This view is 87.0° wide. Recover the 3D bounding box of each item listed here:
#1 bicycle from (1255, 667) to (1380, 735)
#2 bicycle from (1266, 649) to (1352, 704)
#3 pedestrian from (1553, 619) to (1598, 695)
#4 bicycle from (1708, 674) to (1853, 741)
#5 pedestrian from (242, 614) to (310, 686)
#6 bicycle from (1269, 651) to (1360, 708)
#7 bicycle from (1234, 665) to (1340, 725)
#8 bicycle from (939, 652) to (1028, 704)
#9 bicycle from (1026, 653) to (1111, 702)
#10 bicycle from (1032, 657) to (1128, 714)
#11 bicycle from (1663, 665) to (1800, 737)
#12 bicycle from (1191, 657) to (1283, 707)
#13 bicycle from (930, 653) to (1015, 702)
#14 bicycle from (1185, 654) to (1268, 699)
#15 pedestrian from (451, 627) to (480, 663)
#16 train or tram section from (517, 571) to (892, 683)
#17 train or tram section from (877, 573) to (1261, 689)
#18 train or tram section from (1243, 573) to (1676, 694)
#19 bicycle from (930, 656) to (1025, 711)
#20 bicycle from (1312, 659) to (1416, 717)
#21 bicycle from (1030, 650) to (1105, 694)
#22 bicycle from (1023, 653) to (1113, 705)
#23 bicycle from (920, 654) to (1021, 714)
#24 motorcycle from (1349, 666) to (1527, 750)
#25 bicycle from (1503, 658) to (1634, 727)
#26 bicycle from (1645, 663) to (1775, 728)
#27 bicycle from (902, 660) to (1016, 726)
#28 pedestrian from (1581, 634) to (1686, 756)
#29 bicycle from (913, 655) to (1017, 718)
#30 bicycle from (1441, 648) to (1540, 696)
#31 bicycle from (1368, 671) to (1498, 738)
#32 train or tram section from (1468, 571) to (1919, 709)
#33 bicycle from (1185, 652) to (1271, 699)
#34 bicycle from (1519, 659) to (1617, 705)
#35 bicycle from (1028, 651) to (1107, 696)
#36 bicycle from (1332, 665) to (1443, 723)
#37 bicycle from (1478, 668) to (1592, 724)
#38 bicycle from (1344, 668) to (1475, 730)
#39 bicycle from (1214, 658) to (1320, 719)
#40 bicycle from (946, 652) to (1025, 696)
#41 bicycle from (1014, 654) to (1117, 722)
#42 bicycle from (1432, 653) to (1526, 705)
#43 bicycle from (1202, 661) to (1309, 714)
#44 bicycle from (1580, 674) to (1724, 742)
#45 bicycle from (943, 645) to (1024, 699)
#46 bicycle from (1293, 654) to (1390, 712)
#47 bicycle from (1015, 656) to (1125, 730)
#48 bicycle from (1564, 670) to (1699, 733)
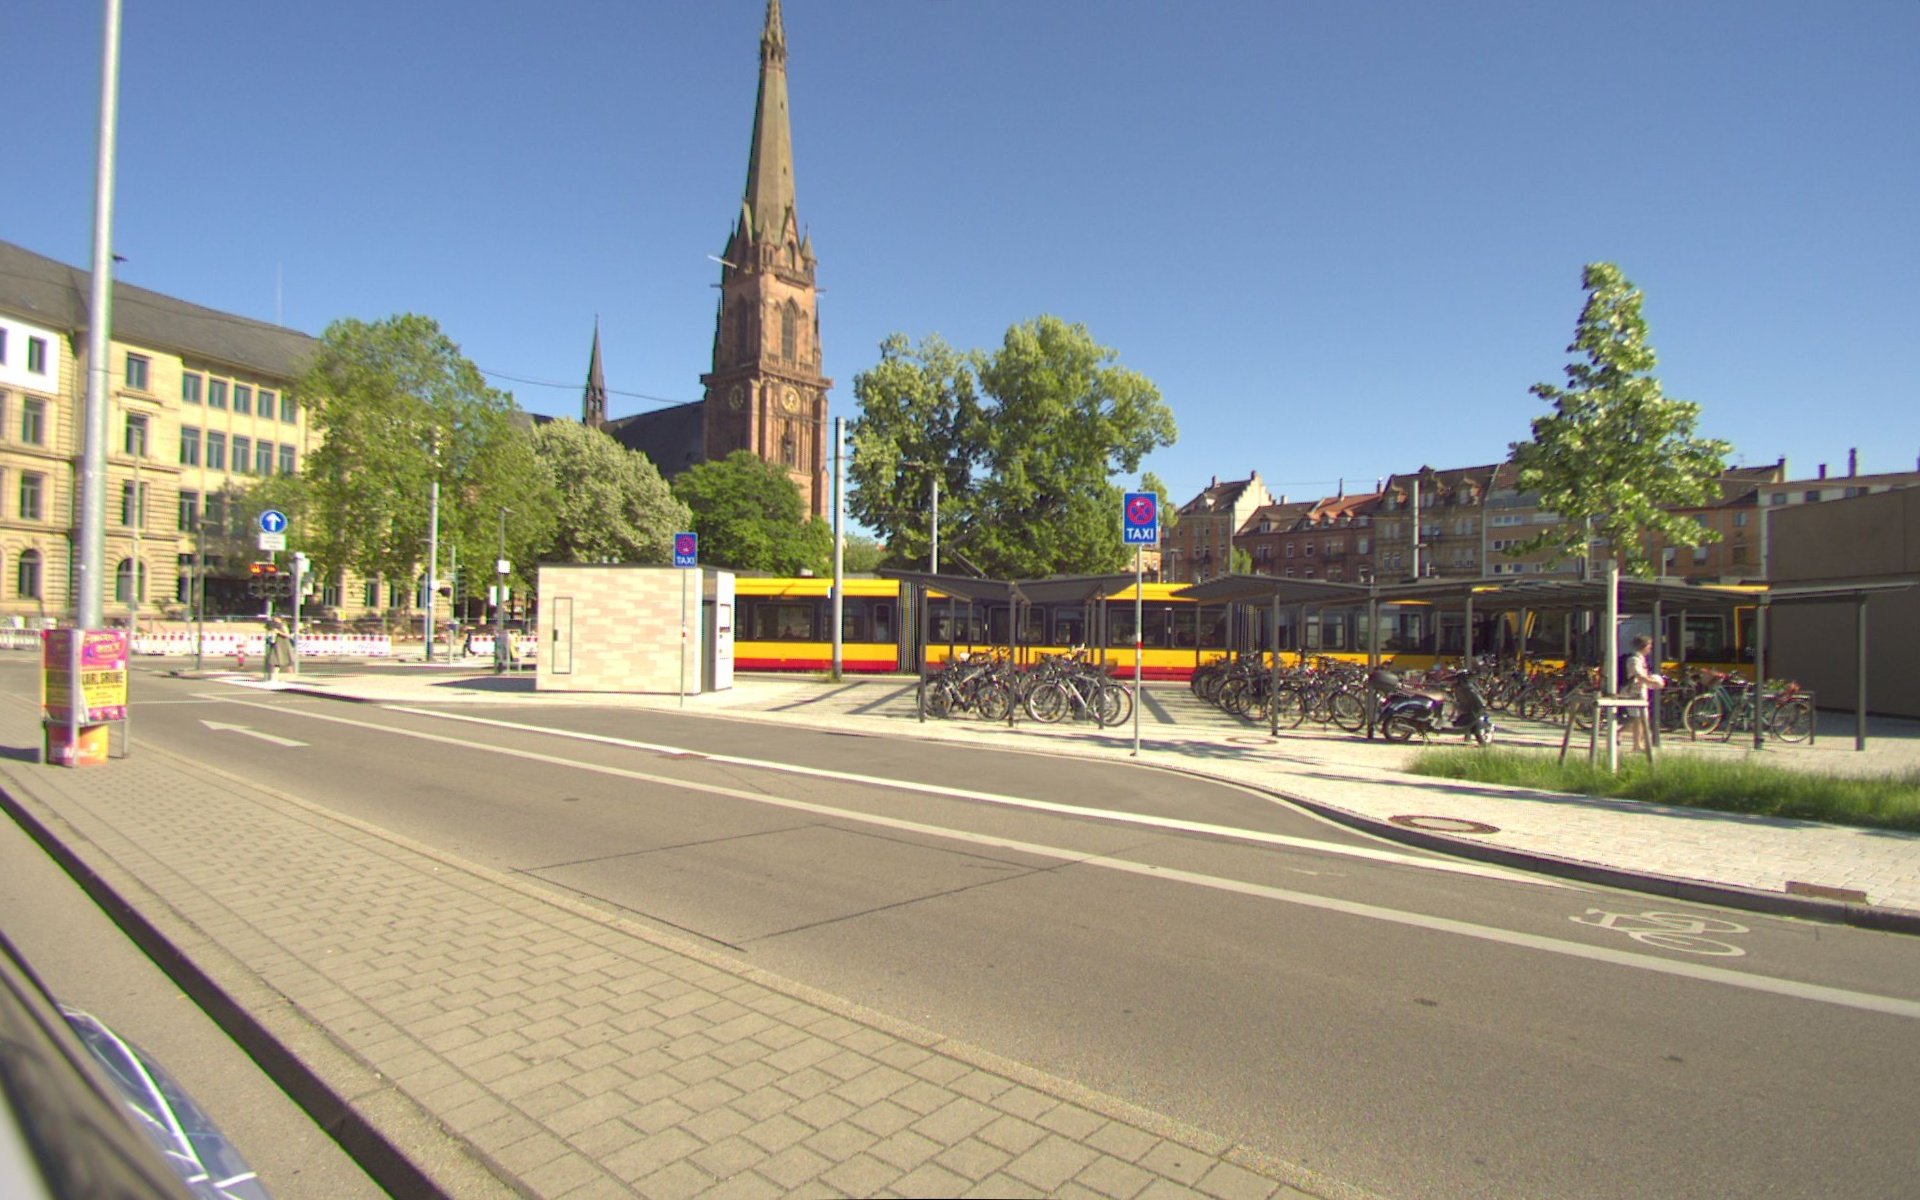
[{"bbox_3d":[5.967,1.678,16.979,1.871,1.050,0.688,0,-2,9],"label":"bicycle"},{"bbox_3d":[8.226,1.786,23.877,1.808,1.242,0.627,0,-2,7],"label":"bicycle"},{"bbox_3d":[15.398,1.412,25.332,0.700,1.869,0.751,2,-2,-38],"label":"pedestrian"},{"bbox_3d":[13.010,1.696,16.078,1.803,1.015,0.629,1,-2,-3],"label":"bicycle"},{"bbox_3d":[-18.284,1.312,27.071,0.824,1.869,1.217,-1,-2,29],"label":"pedestrian"},{"bbox_3d":[7.918,1.769,22.679,1.808,1.198,0.647,0,-2,7],"label":"bicycle"},{"bbox_3d":[5.843,1.687,18.133,1.731,1.015,0.547,0,-2,10],"label":"bicycle"},{"bbox_3d":[0.502,1.617,21.140,1.809,1.015,0.627,0,-2,9],"label":"bicycle"},{"bbox_3d":[2.367,1.689,22.124,1.808,1.015,0.627,0,-2,7],"label":"bicycle"},{"bbox_3d":[2.311,1.637,19.541,1.808,1.015,0.745,0,-2,7],"label":"bicycle"},{"bbox_3d":[12.981,1.689,17.065,1.805,1.155,0.629,0,-2,0],"label":"bicycle"},{"bbox_3d":[5.959,1.759,21.807,1.805,1.015,0.629,0,-2,0],"label":"bicycle"},{"bbox_3d":[0.279,1.693,22.171,1.809,1.015,0.627,0,-2,9],"label":"bicycle"},{"bbox_3d":[6.241,1.787,23.799,1.808,1.015,0.627,0,-2,6],"label":"bicycle"},{"bbox_3d":[-24.037,2.187,49.209,0.923,1.754,0.805,0,-2,5],"label":"pedestrian"},{"bbox_3d":[-8.708,0.888,35.089,12.382,3.628,2.796,0,-2,6],"label":"train or tram section"},{"bbox_3d":[3.498,0.990,33.792,12.174,3.628,2.796,0,-2,6],"label":"train or tram section"},{"bbox_3d":[15.615,1.024,32.533,12.174,3.628,2.828,0,-2,6],"label":"train or tram section"},{"bbox_3d":[0.351,1.637,19.985,1.809,1.015,0.627,0,-2,9],"label":"bicycle"},{"bbox_3d":[8.064,1.748,20.263,1.808,1.088,0.627,0,-2,7],"label":"bicycle"},{"bbox_3d":[2.622,1.760,24.810,1.808,1.015,0.627,0,-2,7],"label":"bicycle"},{"bbox_3d":[2.219,1.611,20.849,1.808,1.015,0.627,0,-2,7],"label":"bicycle"},{"bbox_3d":[0.203,1.546,18.766,1.809,1.059,0.571,0,-2,9],"label":"bicycle"},{"bbox_3d":[7.158,1.605,15.234,2.333,1.167,0.610,0,-2,7],"label":"motorcycle"},{"bbox_3d":[11.287,1.705,18.802,2.029,1.218,0.505,0,-2,8],"label":"bicycle"},{"bbox_3d":[13.580,1.718,18.361,1.808,1.101,0.627,0,-2,7],"label":"bicycle"},{"bbox_3d":[-0.004,1.585,17.372,1.847,1.015,0.699,2,-2,9],"label":"bicycle"},{"bbox_3d":[9.942,1.363,14.957,0.824,1.718,1.027,2,-2,-31],"label":"pedestrian"},{"bbox_3d":[0.106,1.540,18.237,1.809,1.074,0.627,0,-2,9],"label":"bicycle"},{"bbox_3d":[11.677,1.578,22.308,1.809,1.015,0.627,0,-2,9],"label":"bicycle"},{"bbox_3d":[7.758,1.706,16.651,1.808,1.015,0.627,0,-2,7],"label":"bicycle"},{"bbox_3d":[21.376,1.084,28.703,12.179,3.628,2.748,0,-2,7],"label":"train or tram section"},{"bbox_3d":[6.111,1.723,23.111,1.807,1.015,0.628,0,-2,5],"label":"bicycle"},{"bbox_3d":[14.042,1.882,23.407,1.808,1.015,0.627,0,-2,7],"label":"bicycle"},{"bbox_3d":[2.500,1.705,23.610,1.808,1.015,0.627,0,-2,7],"label":"bicycle"},{"bbox_3d":[7.990,1.750,18.971,1.808,1.015,0.627,0,-2,7],"label":"bicycle"},{"bbox_3d":[11.252,1.874,19.842,1.809,1.015,0.627,0,-2,9],"label":"bicycle"},{"bbox_3d":[7.909,1.732,17.877,2.003,1.015,0.627,0,-2,7],"label":"bicycle"},{"bbox_3d":[5.866,1.684,19.411,1.859,1.101,0.626,0,-2,8],"label":"bicycle"},{"bbox_3d":[0.609,1.753,24.115,1.809,1.015,0.627,0,-2,9],"label":"bicycle"},{"bbox_3d":[1.899,1.579,18.276,1.808,1.157,0.627,0,-2,7],"label":"bicycle"},{"bbox_3d":[11.990,1.816,23.404,1.809,1.140,0.627,0,-2,9],"label":"bicycle"},{"bbox_3d":[5.939,1.762,20.432,1.978,1.015,0.628,0,-2,4],"label":"bicycle"},{"bbox_3d":[11.149,1.724,16.350,1.809,1.015,0.627,0,-2,9],"label":"bicycle"},{"bbox_3d":[0.552,1.649,23.415,1.809,1.188,0.627,0,-2,9],"label":"bicycle"},{"bbox_3d":[8.101,1.747,21.529,1.808,1.170,0.627,0,-2,7],"label":"bicycle"},{"bbox_3d":[1.855,1.558,17.134,1.808,1.167,0.627,1,-2,7],"label":"bicycle"},{"bbox_3d":[11.593,1.743,17.526,1.872,1.004,0.499,0,-2,13],"label":"bicycle"}]
